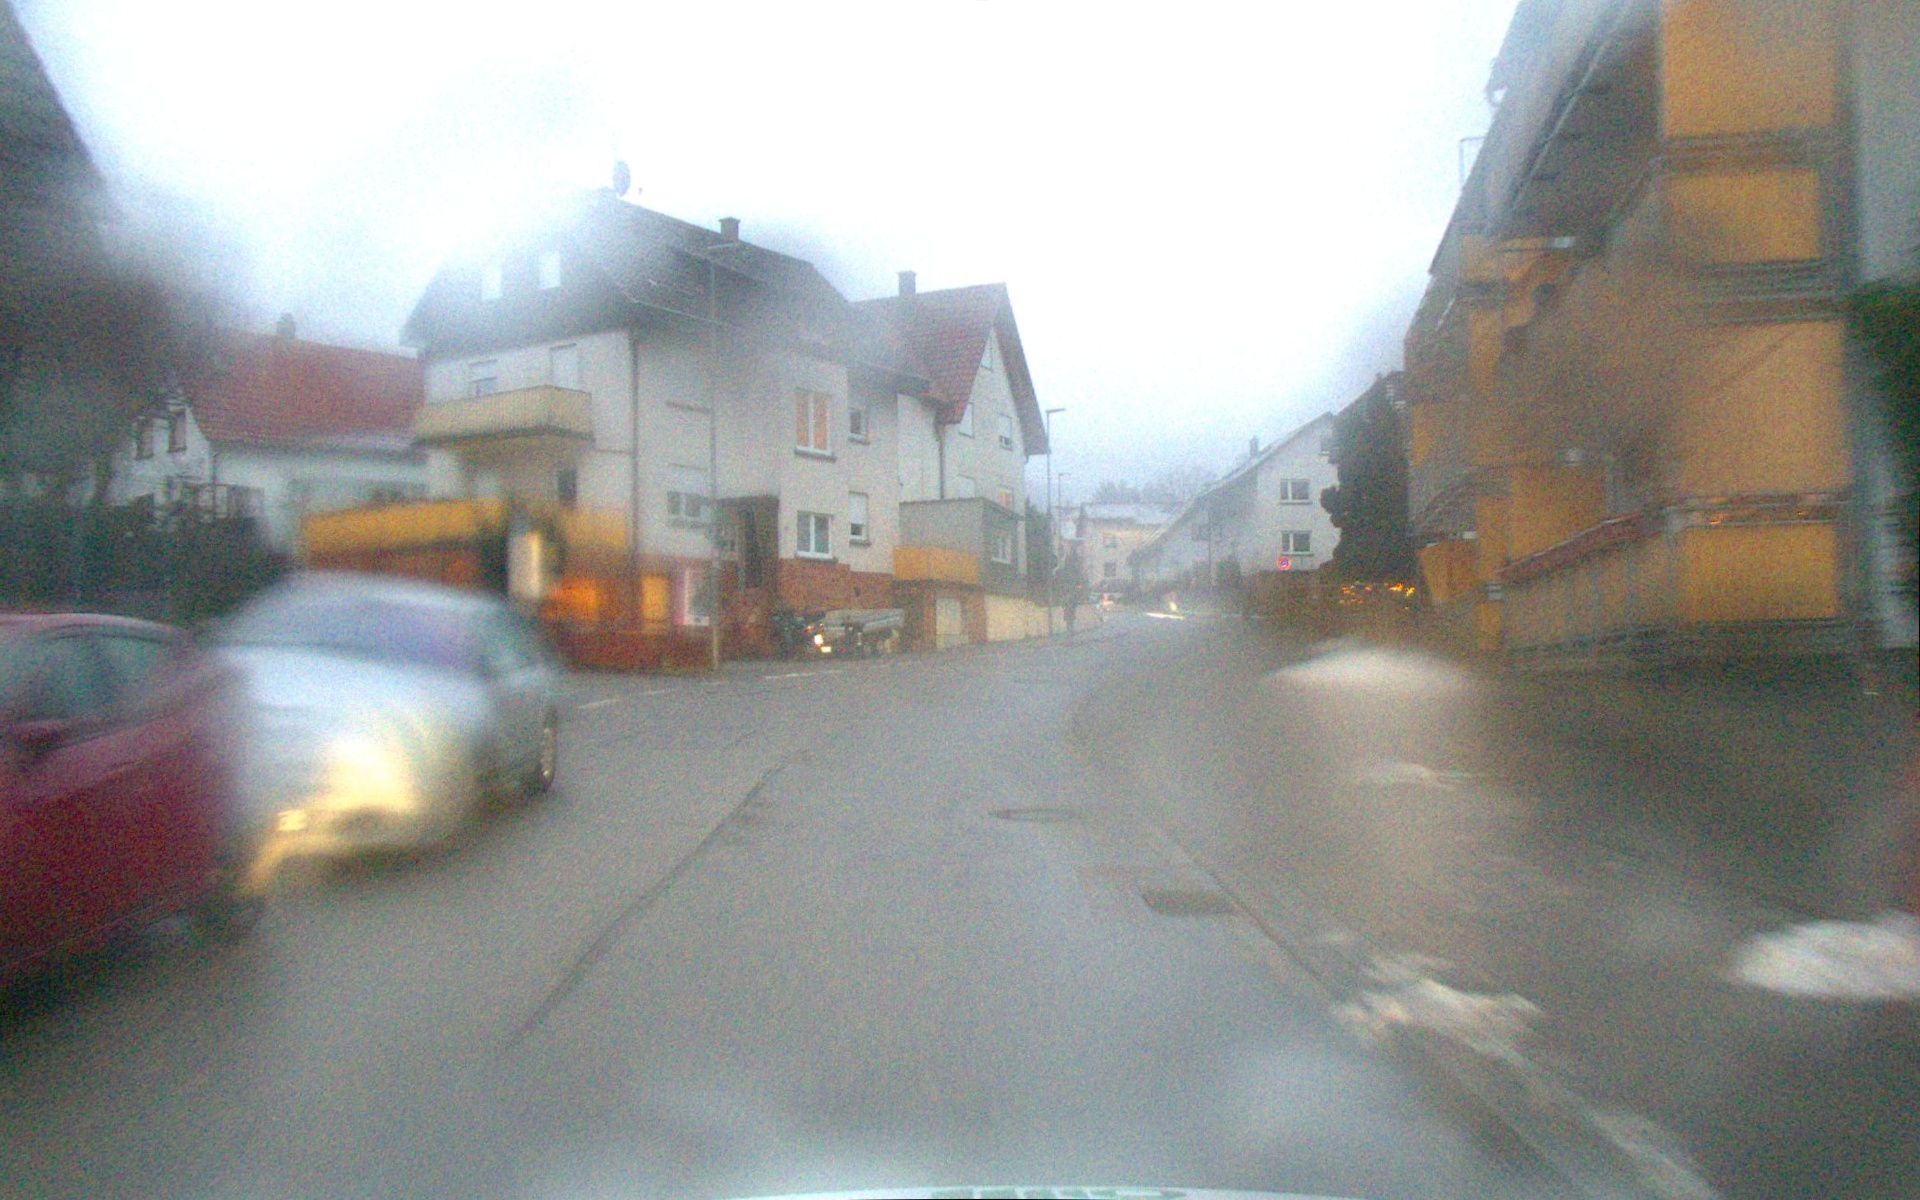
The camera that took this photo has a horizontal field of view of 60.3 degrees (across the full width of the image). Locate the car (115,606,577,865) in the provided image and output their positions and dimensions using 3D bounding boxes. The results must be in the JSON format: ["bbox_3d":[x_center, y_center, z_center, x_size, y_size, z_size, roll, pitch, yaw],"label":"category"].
[{"bbox_3d":[-3.920,0.765,11.350,1.713,1.413,4.145,0,0,-1],"label":"car"}]

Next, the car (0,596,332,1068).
[{"bbox_3d":[-3.911,0.723,5.999,1.786,1.466,4.066,0,0,-1],"label":"car"}]

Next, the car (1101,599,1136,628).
[{"bbox_3d":[12.119,0.992,126.331,2.065,2.062,4.987,-2,0,12],"label":"car"}]

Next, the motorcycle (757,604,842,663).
[{"bbox_3d":[-3.799,0.775,38.976,1.045,1.321,2.209,0,0,-36],"label":"motorcycle"}]

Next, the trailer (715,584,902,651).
[{"bbox_3d":[-3.724,0.496,41.536,2.023,1.189,4.850,-3,-7,34],"label":"trailer"}]

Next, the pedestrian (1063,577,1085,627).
[{"bbox_3d":[4.045,0.080,58.463,0.585,1.763,0.812,0,-1,19],"label":"pedestrian"}]
